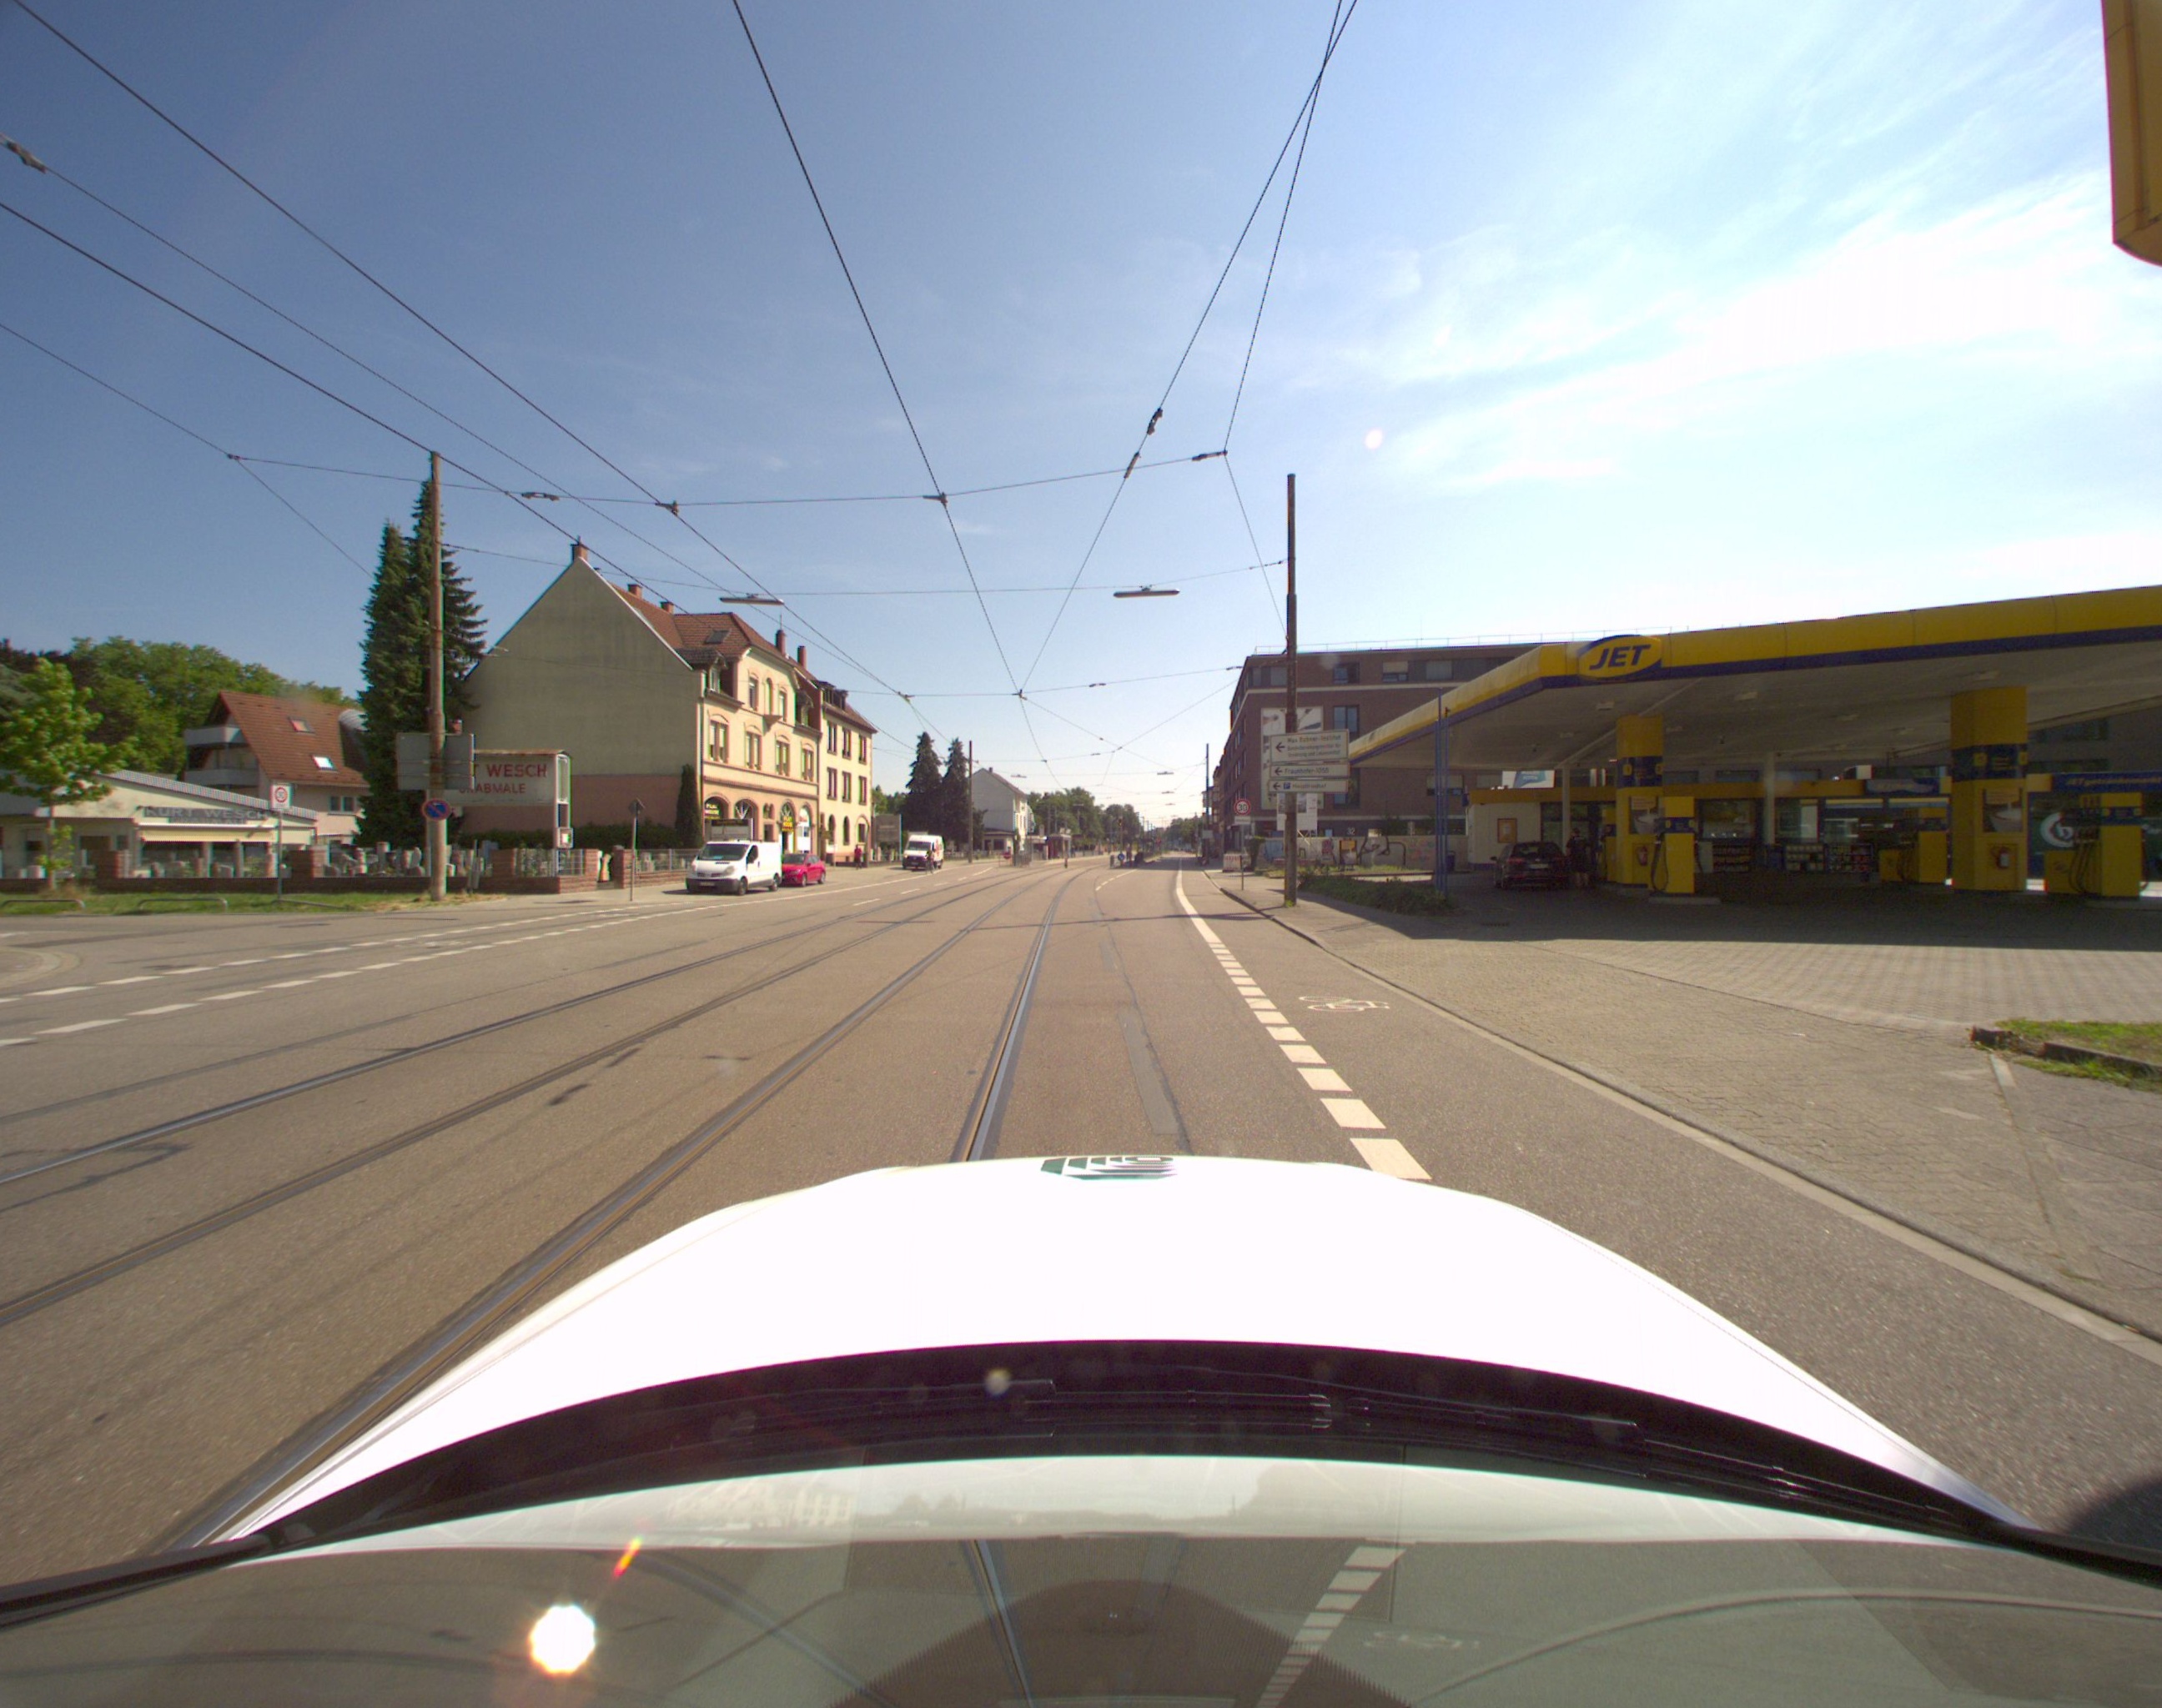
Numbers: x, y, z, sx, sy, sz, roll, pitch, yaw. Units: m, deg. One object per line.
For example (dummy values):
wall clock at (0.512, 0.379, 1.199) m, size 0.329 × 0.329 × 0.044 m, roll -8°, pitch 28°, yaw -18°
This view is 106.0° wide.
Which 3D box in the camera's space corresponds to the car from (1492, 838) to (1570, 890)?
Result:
car at (13.835, 0.262, 25.248) m, size 1.740 × 1.455 × 4.435 m, roll -1°, pitch 0°, yaw 24°

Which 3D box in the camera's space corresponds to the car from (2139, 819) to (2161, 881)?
car at (34.292, -0.128, 23.665) m, size 1.741 × 1.982 × 5.334 m, roll -1°, pitch 0°, yaw 20°

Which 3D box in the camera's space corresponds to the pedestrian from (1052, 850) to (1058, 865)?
pedestrian at (-2.965, 0.410, 93.872) m, size 0.703 × 1.690 × 0.416 m, roll -1°, pitch 0°, yaw -1°

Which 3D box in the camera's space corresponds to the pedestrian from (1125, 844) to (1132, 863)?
pedestrian at (4.422, -0.046, 75.822) m, size 0.554 × 1.760 × 0.794 m, roll -1°, pitch 0°, yaw 1°

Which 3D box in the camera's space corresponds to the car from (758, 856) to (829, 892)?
car at (-12.798, 0.853, 36.484) m, size 1.714 × 1.406 × 4.001 m, roll -1°, pitch 0°, yaw 1°

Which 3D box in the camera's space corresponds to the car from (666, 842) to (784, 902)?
car at (-13.027, 0.613, 30.210) m, size 2.076 × 2.013 × 4.910 m, roll 0°, pitch 0°, yaw 1°

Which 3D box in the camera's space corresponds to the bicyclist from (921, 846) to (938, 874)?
bicyclist at (-9.556, 0.392, 51.354) m, size 0.711 × 1.724 × 0.992 m, roll -1°, pitch 0°, yaw 15°

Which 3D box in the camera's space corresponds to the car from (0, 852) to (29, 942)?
car at (-20.285, 0.765, 13.351) m, size 3.674 × 1.527 × 1.704 m, roll -1°, pitch 0°, yaw -2°

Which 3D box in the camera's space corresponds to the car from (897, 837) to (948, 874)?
car at (-11.650, 0.077, 60.472) m, size 2.321 × 2.535 × 6.508 m, roll 1°, pitch 0°, yaw 1°

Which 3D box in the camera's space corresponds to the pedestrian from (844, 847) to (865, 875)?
pedestrian at (-15.126, 0.449, 54.374) m, size 0.936 × 1.815 × 1.133 m, roll 0°, pitch 0°, yaw 9°

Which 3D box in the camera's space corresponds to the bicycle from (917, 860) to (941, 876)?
bicycle at (-9.554, 0.876, 51.251) m, size 0.604 × 0.984 × 2.173 m, roll -1°, pitch 0°, yaw 15°

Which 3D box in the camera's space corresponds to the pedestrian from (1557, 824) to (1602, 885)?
pedestrian at (14.478, 0.018, 23.656) m, size 0.852 × 1.725 × 0.745 m, roll -1°, pitch 0°, yaw 2°
